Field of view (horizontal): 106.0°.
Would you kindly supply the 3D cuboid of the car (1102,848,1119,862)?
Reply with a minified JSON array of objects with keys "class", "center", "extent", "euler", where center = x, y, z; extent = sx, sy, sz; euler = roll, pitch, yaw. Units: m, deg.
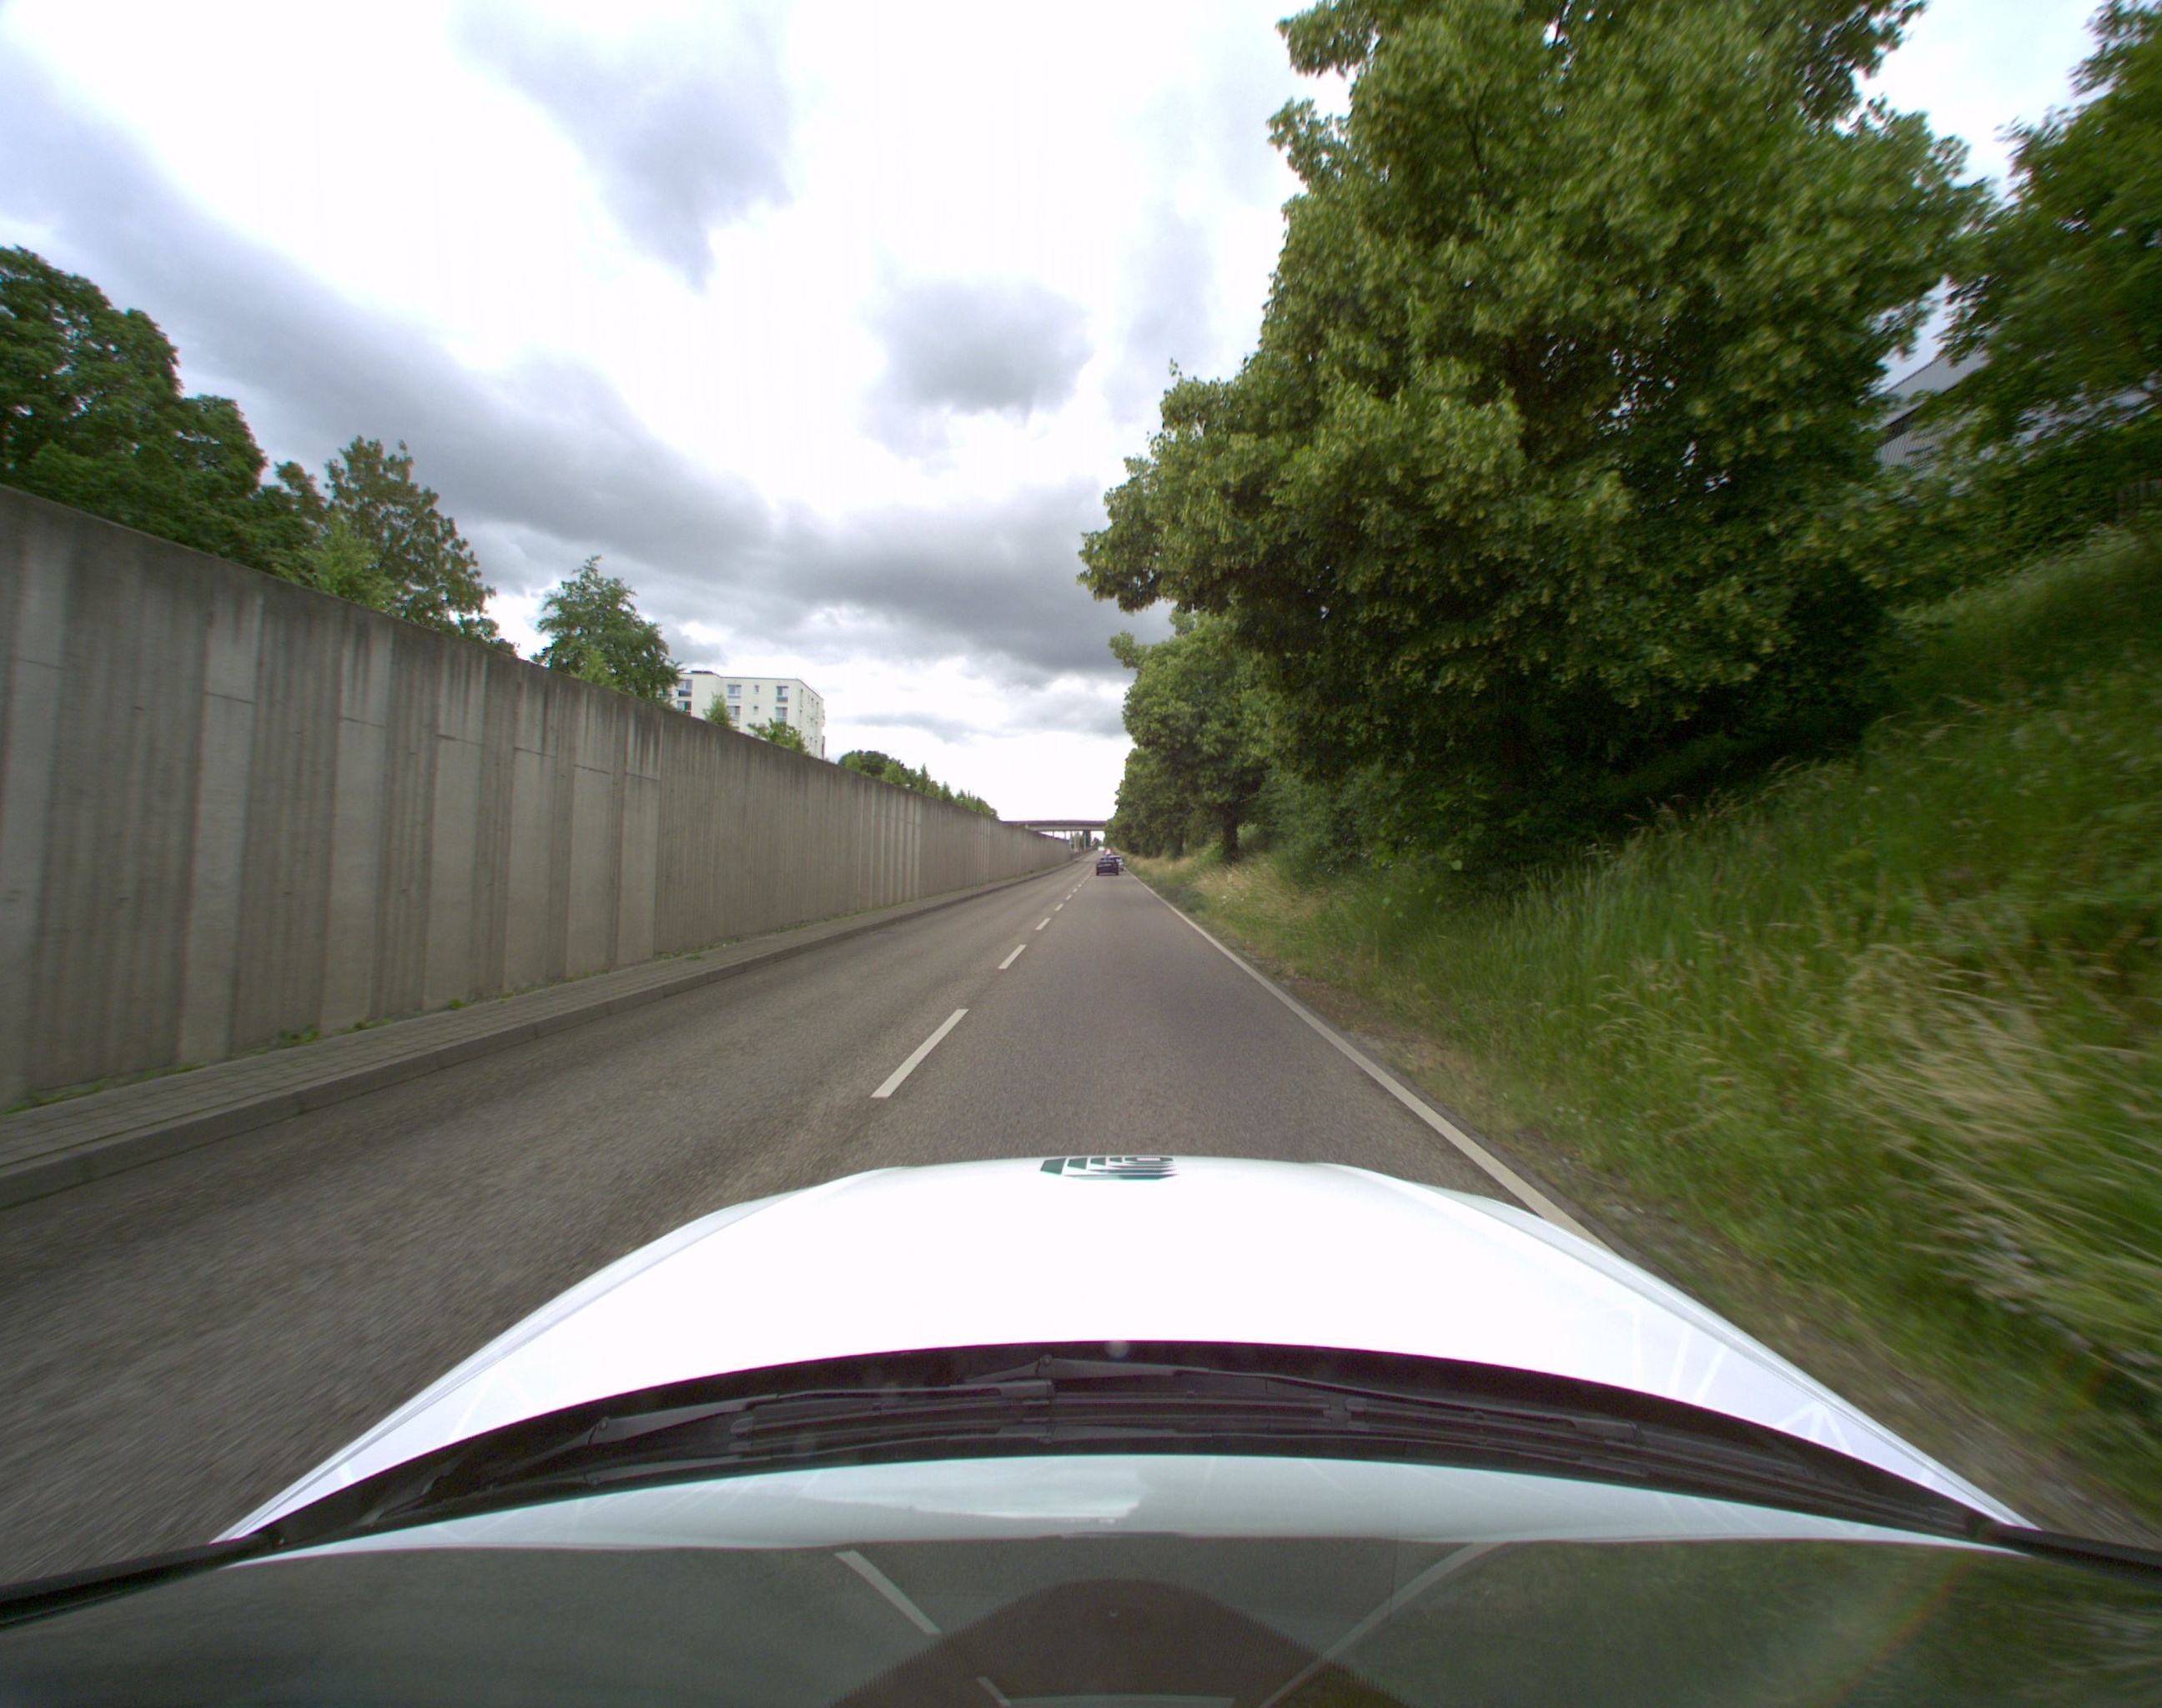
[{"class":"car","center":[3.566,0.127,98.925],"extent":[1.860,1.490,4.256],"euler":[3,0,0]}]

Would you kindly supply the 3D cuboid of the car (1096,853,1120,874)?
[{"class":"car","center":[2.100,0.717,63.678],"extent":[1.748,1.523,4.038],"euler":[-1,0,1]}]

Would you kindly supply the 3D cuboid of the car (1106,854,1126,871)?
[{"class":"car","center":[3.347,0.838,78.664],"extent":[1.748,1.523,4.037],"euler":[-2,-1,1]}]
